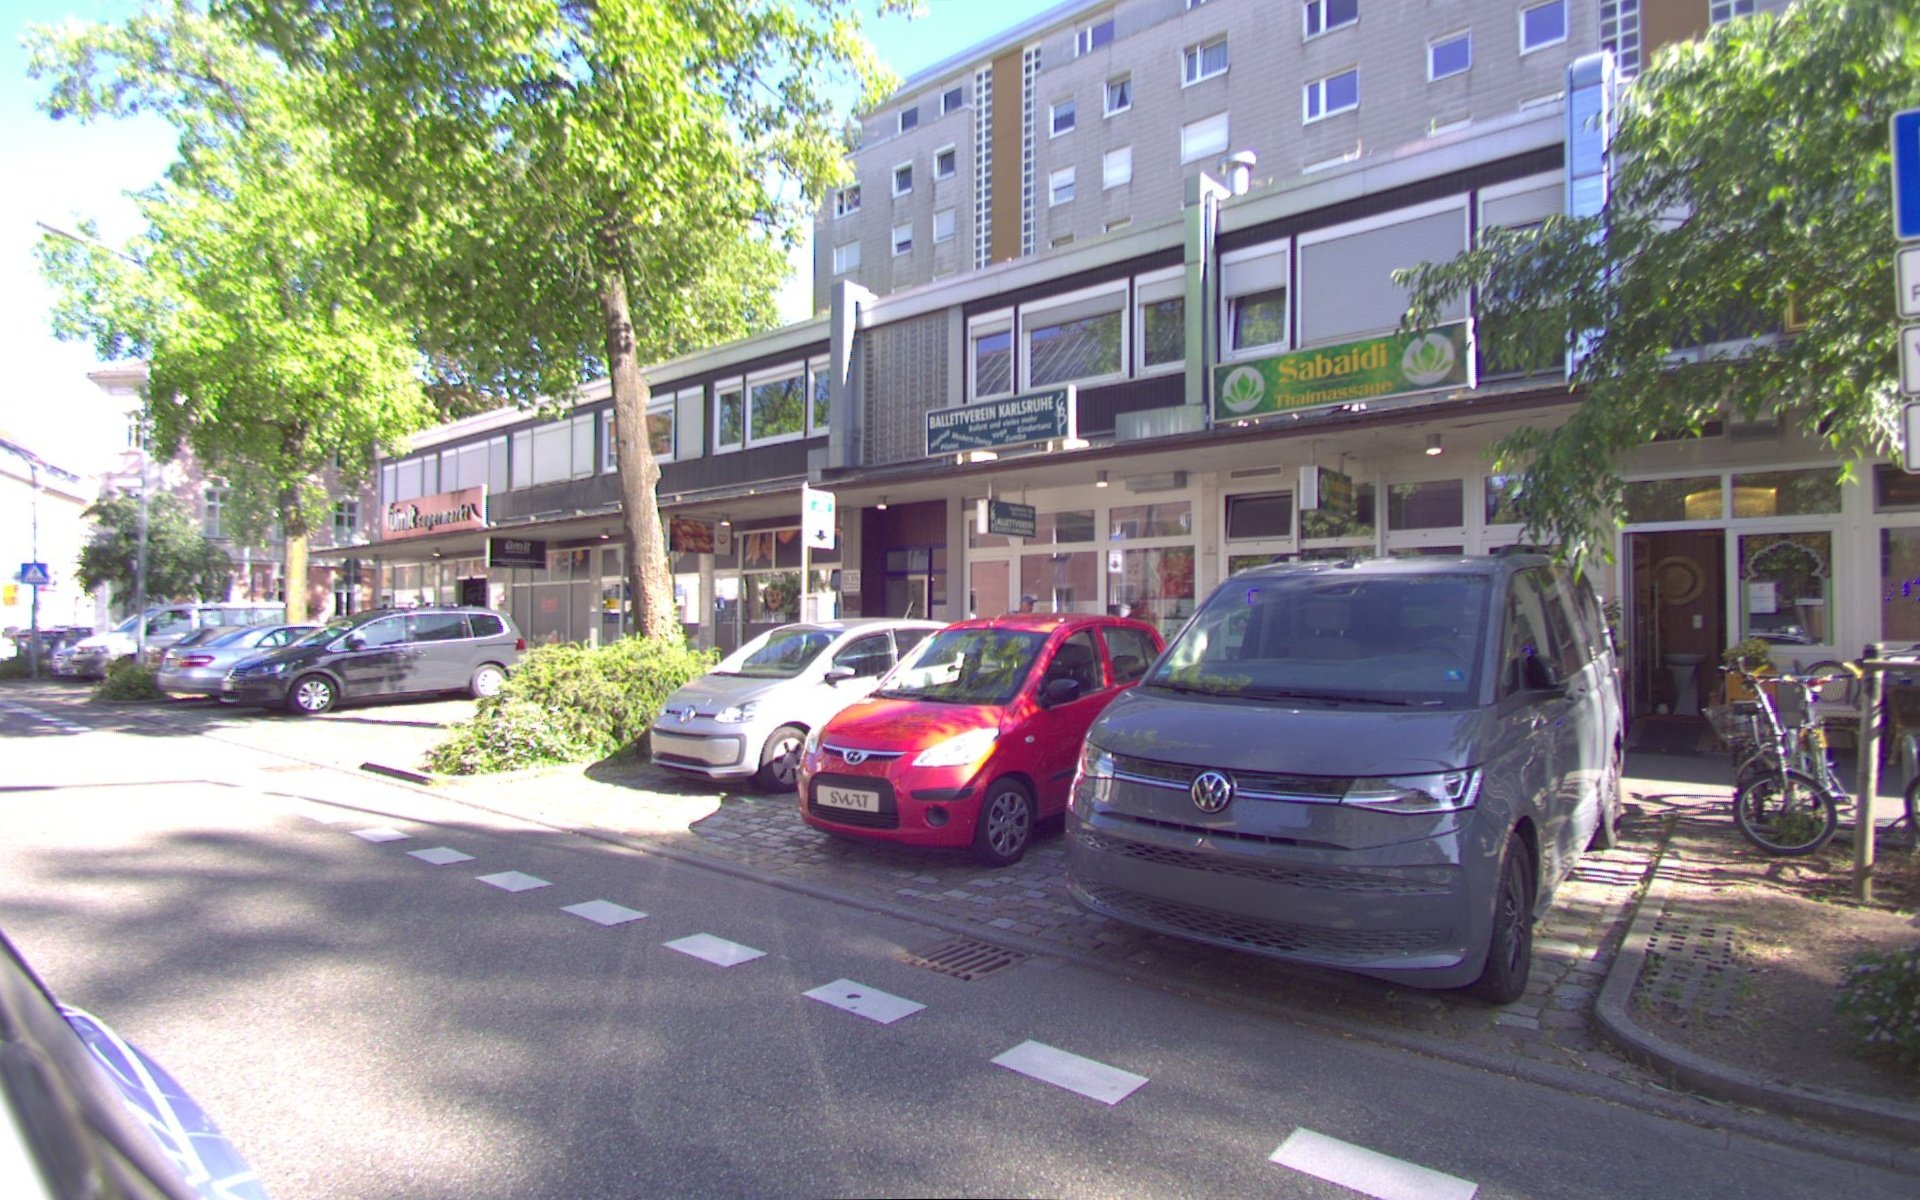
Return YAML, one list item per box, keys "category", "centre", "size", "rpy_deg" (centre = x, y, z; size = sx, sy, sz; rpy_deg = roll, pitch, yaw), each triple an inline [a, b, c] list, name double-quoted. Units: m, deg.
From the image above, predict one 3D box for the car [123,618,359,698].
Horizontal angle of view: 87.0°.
- category: "car"
  centre: [-15.970, 1.224, 22.652]
  size: [1.734, 1.431, 3.950]
  rpy_deg: [-2, 1, 38]

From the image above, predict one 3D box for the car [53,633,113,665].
- category: "car"
  centre: [-48.050, 2.674, 55.505]
  size: [1.482, 1.674, 4.013]
  rpy_deg: [1, -2, -26]

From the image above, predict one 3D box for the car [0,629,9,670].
- category: "car"
  centre: [-35.660, 1.726, 34.219]
  size: [1.994, 1.436, 4.752]
  rpy_deg: [-2, -2, 32]

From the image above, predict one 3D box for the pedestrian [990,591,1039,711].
- category: "pedestrian"
  centre: [0.778, 0.717, 14.420]
  size: [0.532, 1.678, 0.439]
  rpy_deg: [-2, -2, 40]

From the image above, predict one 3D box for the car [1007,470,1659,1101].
- category: "car"
  centre: [2.512, 0.582, 5.673]
  size: [1.871, 1.953, 4.980]
  rpy_deg: [-2, -1, 39]

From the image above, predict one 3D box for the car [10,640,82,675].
- category: "car"
  centre: [-45.966, 2.863, 50.983]
  size: [1.645, 1.650, 4.061]
  rpy_deg: [1, -2, -26]

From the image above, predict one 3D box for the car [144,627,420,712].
- category: "car"
  centre: [-12.558, 1.217, 18.962]
  size: [1.757, 1.409, 3.949]
  rpy_deg: [-2, -2, 38]

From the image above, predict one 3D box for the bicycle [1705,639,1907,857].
- category: "bicycle"
  centre: [5.595, 0.854, 6.637]
  size: [2.211, 1.176, 0.802]
  rpy_deg: [2, -3, -45]

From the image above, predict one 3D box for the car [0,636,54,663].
- category: "car"
  centre: [-52.610, 2.747, 56.805]
  size: [1.966, 1.475, 4.011]
  rpy_deg: [1, -2, -33]

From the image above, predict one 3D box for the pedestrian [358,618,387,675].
- category: "pedestrian"
  centre: [-16.679, 1.312, 28.720]
  size: [0.662, 1.567, 0.522]
  rpy_deg: [-1, -1, 40]

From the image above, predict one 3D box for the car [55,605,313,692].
- category: "car"
  centre: [-19.640, 1.151, 25.837]
  size: [1.907, 1.984, 4.935]
  rpy_deg: [-2, -1, 38]

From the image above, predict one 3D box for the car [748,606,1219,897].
- category: "car"
  centre: [0.365, 0.856, 7.459]
  size: [1.660, 1.566, 3.522]
  rpy_deg: [-2, -1, 39]

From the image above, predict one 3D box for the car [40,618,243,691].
- category: "car"
  centre: [-21.865, 1.418, 27.171]
  size: [1.755, 1.805, 3.948]
  rpy_deg: [-2, -2, 39]

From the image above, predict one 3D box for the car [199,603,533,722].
- category: "car"
  centre: [-10.236, 0.967, 17.770]
  size: [1.872, 1.790, 4.721]
  rpy_deg: [-2, -1, 39]

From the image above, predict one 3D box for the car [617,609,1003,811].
- category: "car"
  centre: [-1.324, 0.904, 9.968]
  size: [1.671, 1.573, 3.550]
  rpy_deg: [-2, -1, 40]
